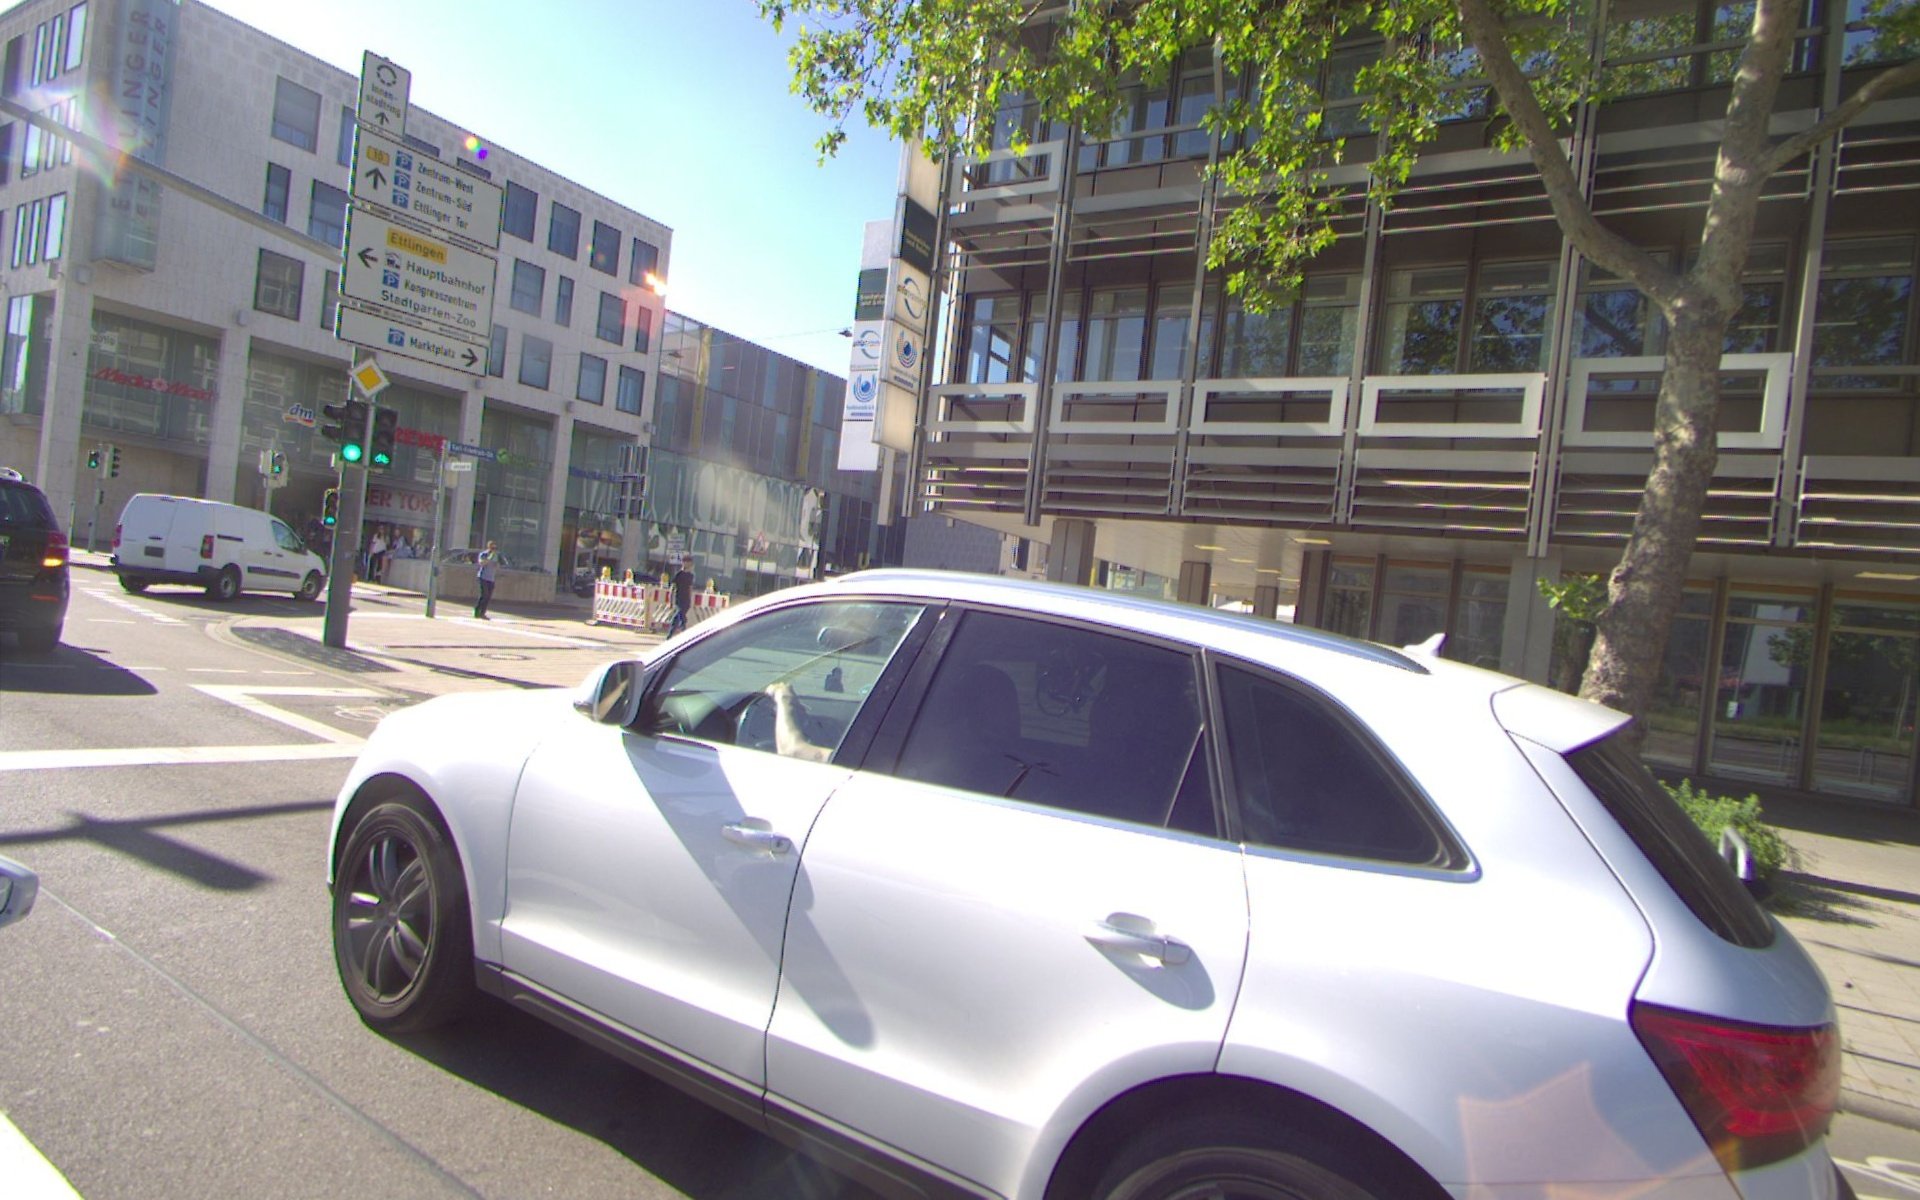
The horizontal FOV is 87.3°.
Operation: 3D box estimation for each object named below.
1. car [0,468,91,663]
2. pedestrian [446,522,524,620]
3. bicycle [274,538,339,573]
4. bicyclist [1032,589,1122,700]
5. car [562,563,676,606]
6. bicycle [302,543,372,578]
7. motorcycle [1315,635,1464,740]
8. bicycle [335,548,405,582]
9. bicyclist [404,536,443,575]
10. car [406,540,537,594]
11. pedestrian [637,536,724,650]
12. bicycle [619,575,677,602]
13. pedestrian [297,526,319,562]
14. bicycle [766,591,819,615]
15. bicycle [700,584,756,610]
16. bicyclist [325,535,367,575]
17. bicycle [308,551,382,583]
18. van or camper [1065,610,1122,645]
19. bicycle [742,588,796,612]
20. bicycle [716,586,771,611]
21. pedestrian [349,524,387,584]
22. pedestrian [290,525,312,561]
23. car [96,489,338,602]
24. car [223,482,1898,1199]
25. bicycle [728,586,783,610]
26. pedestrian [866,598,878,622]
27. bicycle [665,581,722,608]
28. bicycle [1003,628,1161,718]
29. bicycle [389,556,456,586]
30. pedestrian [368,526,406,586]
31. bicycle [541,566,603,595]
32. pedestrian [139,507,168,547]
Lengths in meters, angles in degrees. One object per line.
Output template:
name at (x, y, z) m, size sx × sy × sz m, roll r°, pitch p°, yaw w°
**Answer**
car at (-10.489, -0.539, 9.973) m, size 4.344 × 1.720 × 1.785 m, roll 7°, pitch 0°, yaw 36°
pedestrian at (-10.745, -0.640, 22.774) m, size 1.059 × 2.038 × 0.949 m, roll 7°, pitch 0°, yaw 20°
bicycle at (-26.581, -1.830, 40.917) m, size 2.943 × 1.107 × 1.067 m, roll 6°, pitch 0°, yaw 33°
bicyclist at (1.713, 0.652, 14.683) m, size 0.869 × 1.495 × 0.882 m, roll 7°, pitch 1°, yaw 31°
car at (-15.147, -0.672, 44.951) m, size 1.831 × 1.438 × 4.607 m, roll 5°, pitch -1°, yaw 33°
bicycle at (-25.971, -1.636, 41.909) m, size 3.441 × 1.107 × 1.067 m, roll 6°, pitch 0°, yaw 33°
motorcycle at (7.270, 1.462, 17.064) m, size 2.087 × 1.459 × 0.824 m, roll 7°, pitch 0°, yaw 32°
bicycle at (-25.077, -1.495, 42.713) m, size 3.441 × 1.107 × 1.067 m, roll 6°, pitch 0°, yaw 33°
bicyclist at (-22.195, -1.823, 41.610) m, size 1.024 × 1.451 × 0.933 m, roll 7°, pitch 0°, yaw 35°
car at (-19.024, -1.250, 39.342) m, size 1.831 × 1.632 × 4.188 m, roll 5°, pitch -1°, yaw 33°
pedestrian at (-5.376, -0.120, 19.389) m, size 1.060 × 2.038 × 0.949 m, roll 7°, pitch 0°, yaw 24°
bicycle at (-17.329, -0.659, 55.821) m, size 3.441 × 1.107 × 1.067 m, roll 6°, pitch 0°, yaw 34°
pedestrian at (-33.983, -2.902, 52.451) m, size 0.639 × 1.785 × 0.556 m, roll 7°, pitch 1°, yaw -5°
bicycle at (-10.635, 0.197, 63.732) m, size 3.441 × 1.107 × 1.067 m, roll 6°, pitch 0°, yaw 34°
bicycle at (-13.770, -0.184, 59.606) m, size 3.441 × 1.107 × 1.067 m, roll 6°, pitch 0°, yaw 34°
bicyclist at (-23.866, -1.752, 39.087) m, size 1.059 × 1.413 × 0.933 m, roll 7°, pitch 0°, yaw 35°
bicycle at (-23.901, -1.283, 39.130) m, size 1.055 × 0.955 × 2.194 m, roll 7°, pitch 0°, yaw 35°
van or camper at (11.600, 2.413, 86.850) m, size 2.142 × 2.544 × 6.412 m, roll 7°, pitch 0°, yaw 33°
bicycle at (-11.891, 0.001, 62.642) m, size 3.441 × 1.107 × 1.067 m, roll 6°, pitch 0°, yaw 34°
bicycle at (-13.049, -0.085, 60.580) m, size 3.441 × 1.107 × 1.067 m, roll 6°, pitch 0°, yaw 34°
pedestrian at (-16.968, -1.318, 28.834) m, size 0.517 × 1.634 × 0.661 m, roll 6°, pitch 2°, yaw 22°
pedestrian at (-33.894, -2.922, 51.743) m, size 0.639 × 1.785 × 0.556 m, roll 7°, pitch 1°, yaw -5°
car at (-14.421, -0.950, 19.868) m, size 1.758 × 1.754 × 4.161 m, roll 7°, pitch -1°, yaw -5°
car at (-0.259, 0.676, 3.215) m, size 4.340 × 1.633 × 1.822 m, roll 7°, pitch 0°, yaw 32°
bicycle at (-12.558, -0.129, 61.689) m, size 3.441 × 1.107 × 1.067 m, roll 6°, pitch 0°, yaw 34°
pedestrian at (-6.615, 0.762, 75.440) m, size 0.563 × 1.705 × 0.536 m, roll 7°, pitch 1°, yaw 24°
bicycle at (-15.146, -0.314, 57.157) m, size 3.441 × 1.107 × 1.067 m, roll 6°, pitch 0°, yaw 34°
bicycle at (1.765, 1.041, 14.629) m, size 2.017 × 0.997 × 0.882 m, roll 7°, pitch 0°, yaw 31°
bicycle at (-22.245, -1.193, 41.664) m, size 1.014 × 0.943 × 2.194 m, roll 7°, pitch 0°, yaw 35°
pedestrian at (-16.341, -1.235, 28.706) m, size 0.517 × 1.634 × 0.661 m, roll 6°, pitch 2°, yaw 22°
bicycle at (-19.661, -0.976, 50.975) m, size 3.441 × 1.107 × 1.067 m, roll 6°, pitch 0°, yaw 34°
pedestrian at (-35.402, -3.211, 44.168) m, size 0.547 × 1.628 × 0.748 m, roll 8°, pitch 1°, yaw 30°
